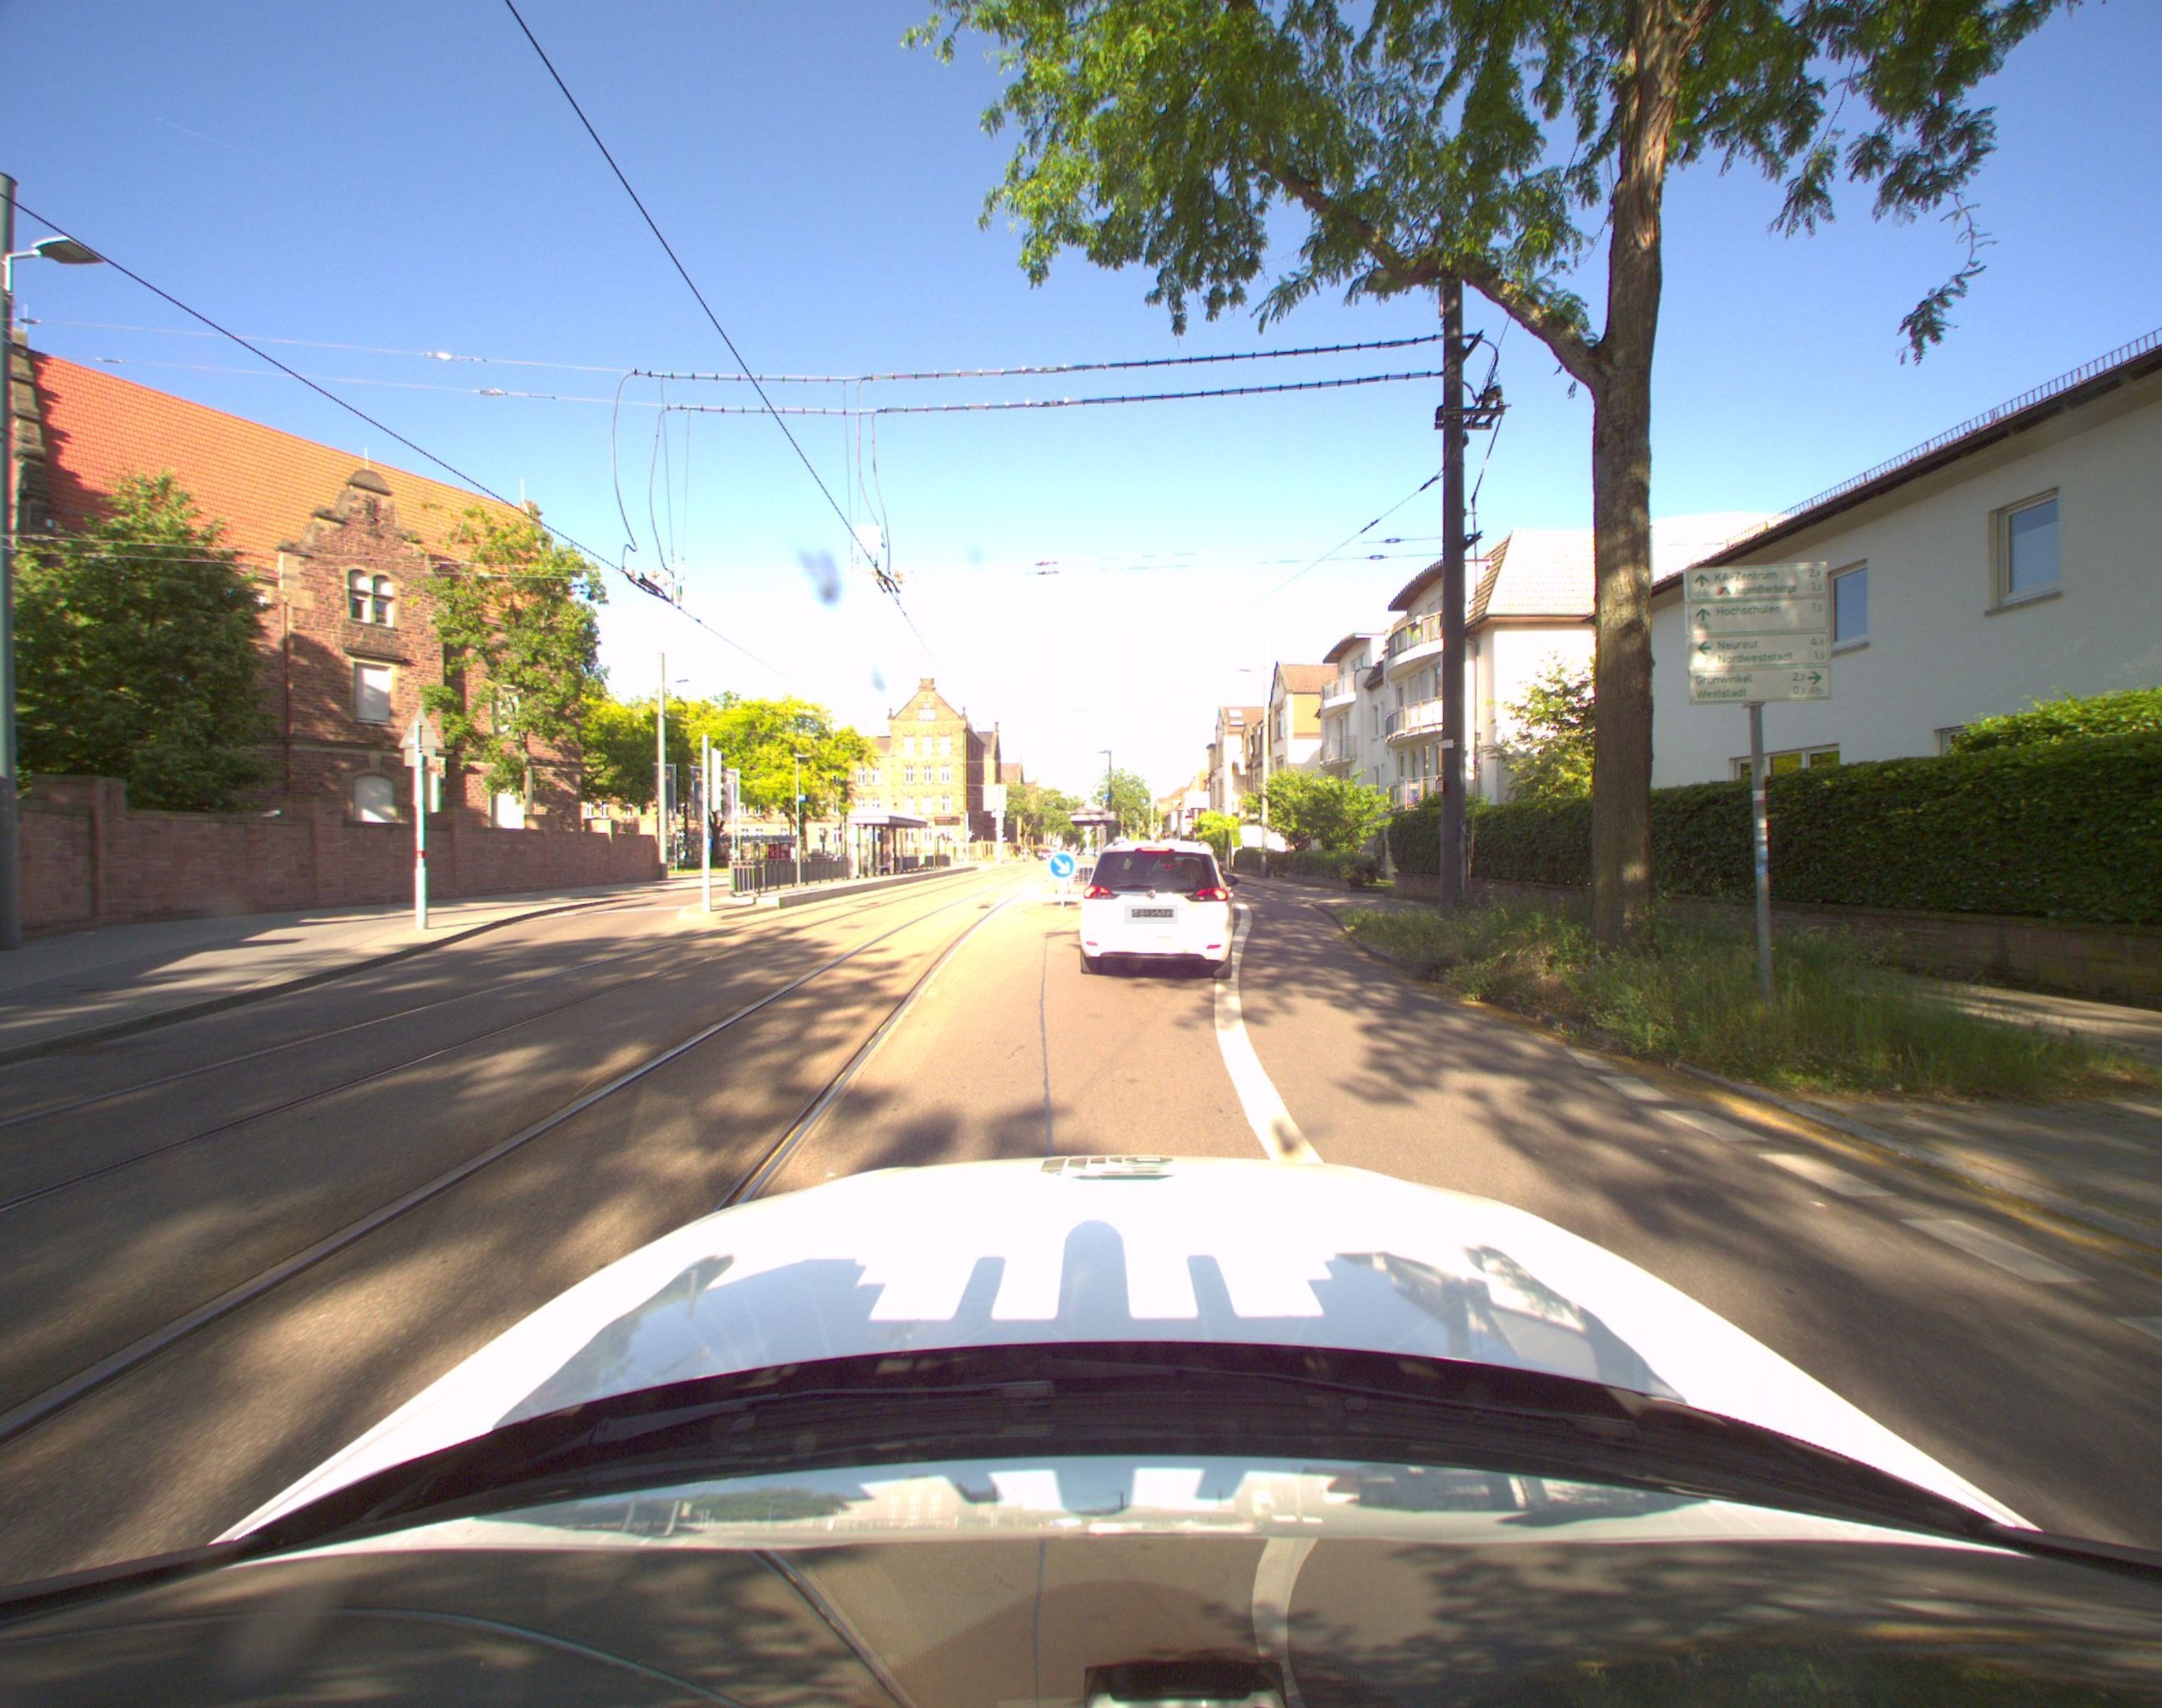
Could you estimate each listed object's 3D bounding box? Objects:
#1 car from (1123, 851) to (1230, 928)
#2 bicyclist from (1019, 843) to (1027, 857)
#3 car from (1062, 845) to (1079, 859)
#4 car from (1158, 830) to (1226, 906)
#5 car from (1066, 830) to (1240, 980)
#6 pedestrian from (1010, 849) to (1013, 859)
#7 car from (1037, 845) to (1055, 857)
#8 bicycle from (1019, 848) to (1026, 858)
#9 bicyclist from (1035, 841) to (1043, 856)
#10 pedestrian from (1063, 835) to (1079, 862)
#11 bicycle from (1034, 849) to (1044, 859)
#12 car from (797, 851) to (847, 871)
[{"bbox_3d":[2.188,0.686,17.644,1.981,1.442,4.012,-1,0,11],"label":"car"},{"bbox_3d":[-7.635,-0.508,106.900,0.940,1.734,0.861,-1,0,1],"label":"bicyclist"},{"bbox_3d":[-1.433,-0.255,110.944,1.986,1.913,4.002,-1,0,2],"label":"car"},{"bbox_3d":[3.306,0.372,23.741,1.698,2.013,3.918,-1,0,11],"label":"car"},{"bbox_3d":[1.119,0.613,11.021,1.881,1.611,4.239,-1,-2,9],"label":"car"},{"bbox_3d":[-10.555,0.005,123.178,0.360,1.437,0.550,-1,0,3],"label":"pedestrian"},{"bbox_3d":[-5.069,-0.442,117.627,1.983,1.722,4.007,-1,0,6],"label":"car"},{"bbox_3d":[-7.648,-0.180,106.613,0.819,1.297,2.677,-1,0,0],"label":"bicycle"},{"bbox_3d":[-5.639,-0.688,109.393,0.948,2.013,0.823,-1,0,-2],"label":"bicyclist"},{"bbox_3d":[-0.782,-0.454,64.554,1.152,2.013,1.119,-3,1,-2],"label":"pedestrian"},{"bbox_3d":[-5.662,-0.067,109.399,1.144,1.297,2.860,-1,0,0],"label":"bicycle"},{"bbox_3d":[-23.863,0.643,75.067,3.978,1.789,1.998,-1,0,-3],"label":"car"}]
